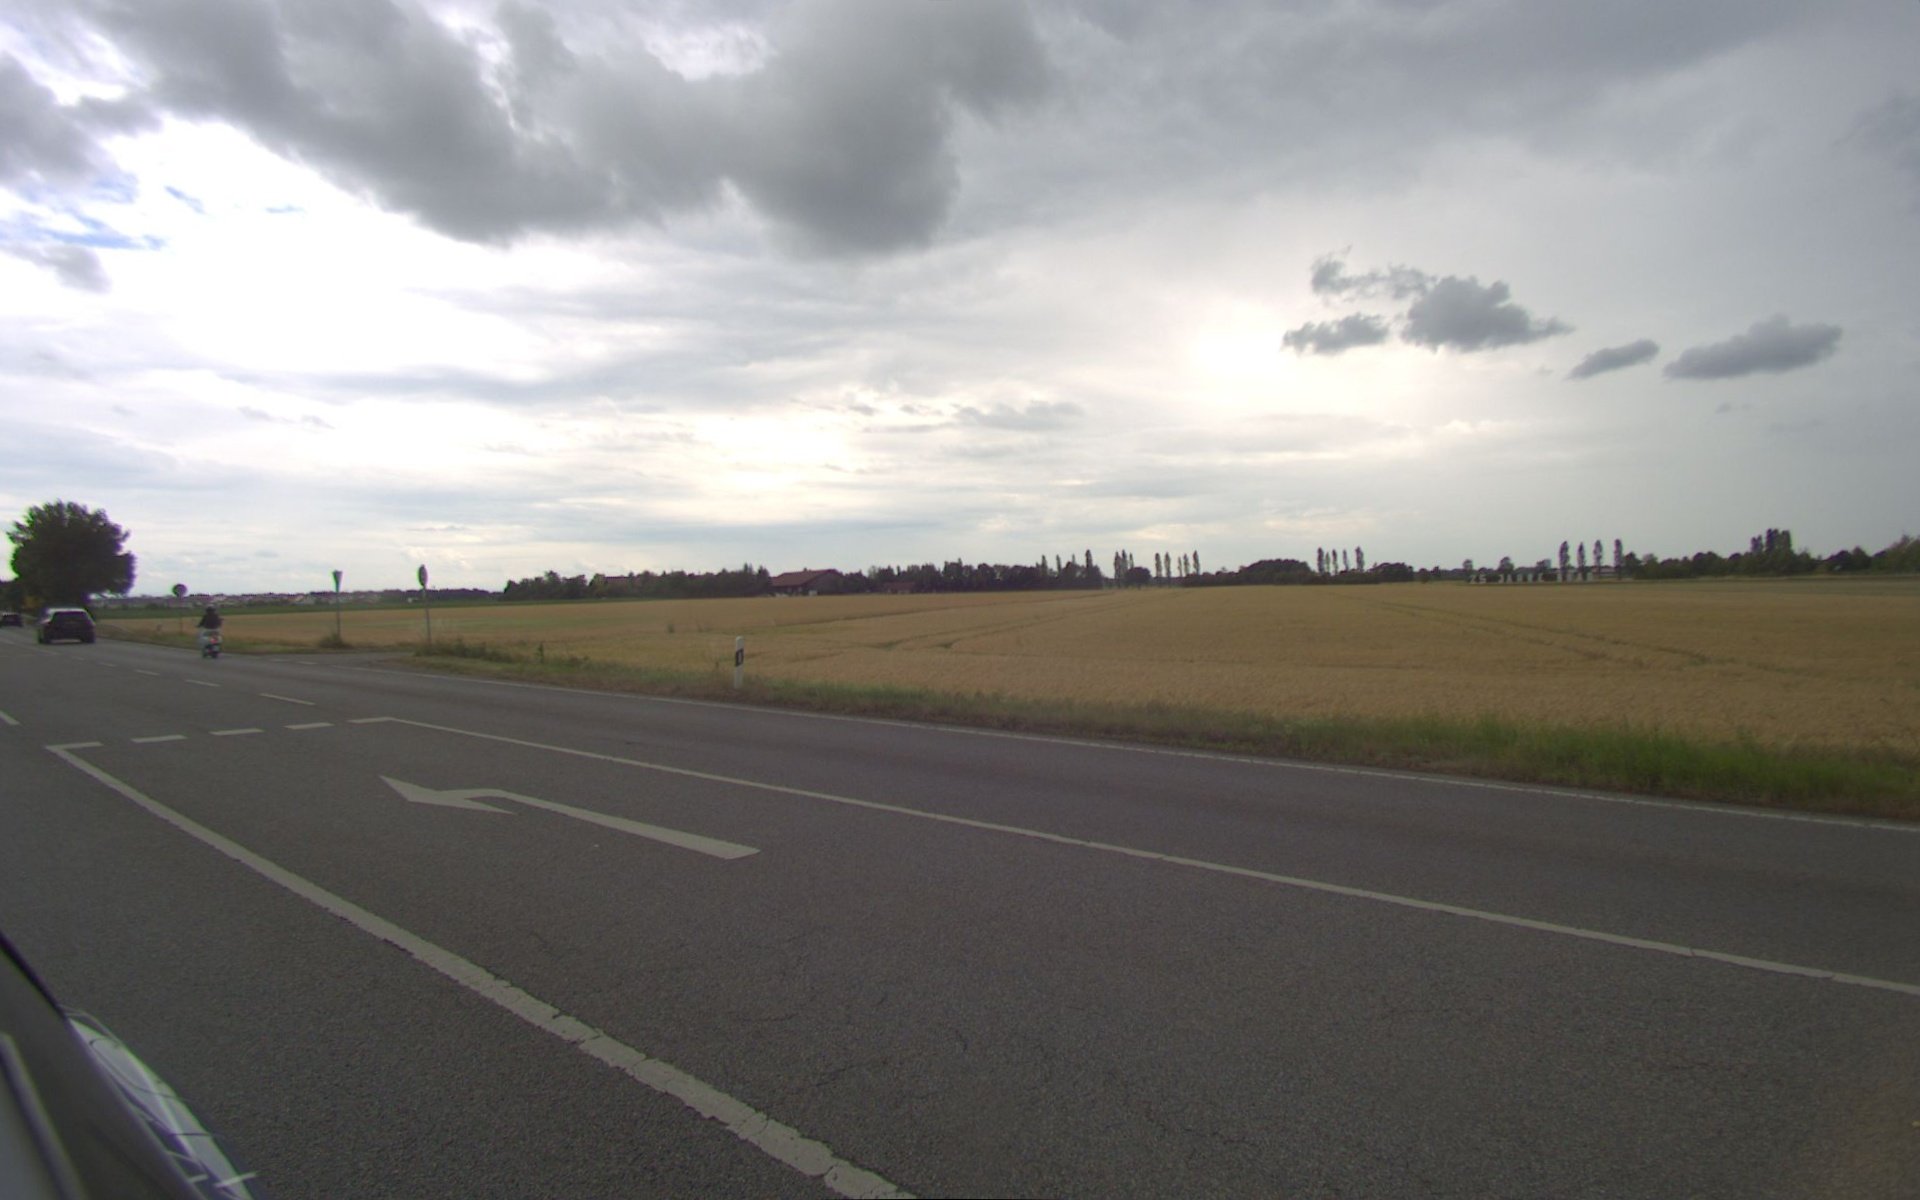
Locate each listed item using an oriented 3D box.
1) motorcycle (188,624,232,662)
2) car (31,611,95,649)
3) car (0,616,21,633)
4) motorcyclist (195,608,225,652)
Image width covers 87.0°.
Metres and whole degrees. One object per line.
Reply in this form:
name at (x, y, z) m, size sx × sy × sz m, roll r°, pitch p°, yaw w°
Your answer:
motorcycle at (-24.122, 1.361, 32.525) m, size 2.023 × 1.157 × 0.718 m, roll -1°, pitch 0°, yaw 41°
car at (-42.915, 1.414, 48.395) m, size 4.447 × 1.707 × 1.925 m, roll -1°, pitch -1°, yaw 43°
car at (-90.633, 2.318, 96.058) m, size 1.969 × 1.521 × 4.006 m, roll 1°, pitch -1°, yaw -41°
motorcyclist at (-24.072, 0.956, 32.477) m, size 0.809 × 1.394 × 0.633 m, roll -1°, pitch 0°, yaw 41°
